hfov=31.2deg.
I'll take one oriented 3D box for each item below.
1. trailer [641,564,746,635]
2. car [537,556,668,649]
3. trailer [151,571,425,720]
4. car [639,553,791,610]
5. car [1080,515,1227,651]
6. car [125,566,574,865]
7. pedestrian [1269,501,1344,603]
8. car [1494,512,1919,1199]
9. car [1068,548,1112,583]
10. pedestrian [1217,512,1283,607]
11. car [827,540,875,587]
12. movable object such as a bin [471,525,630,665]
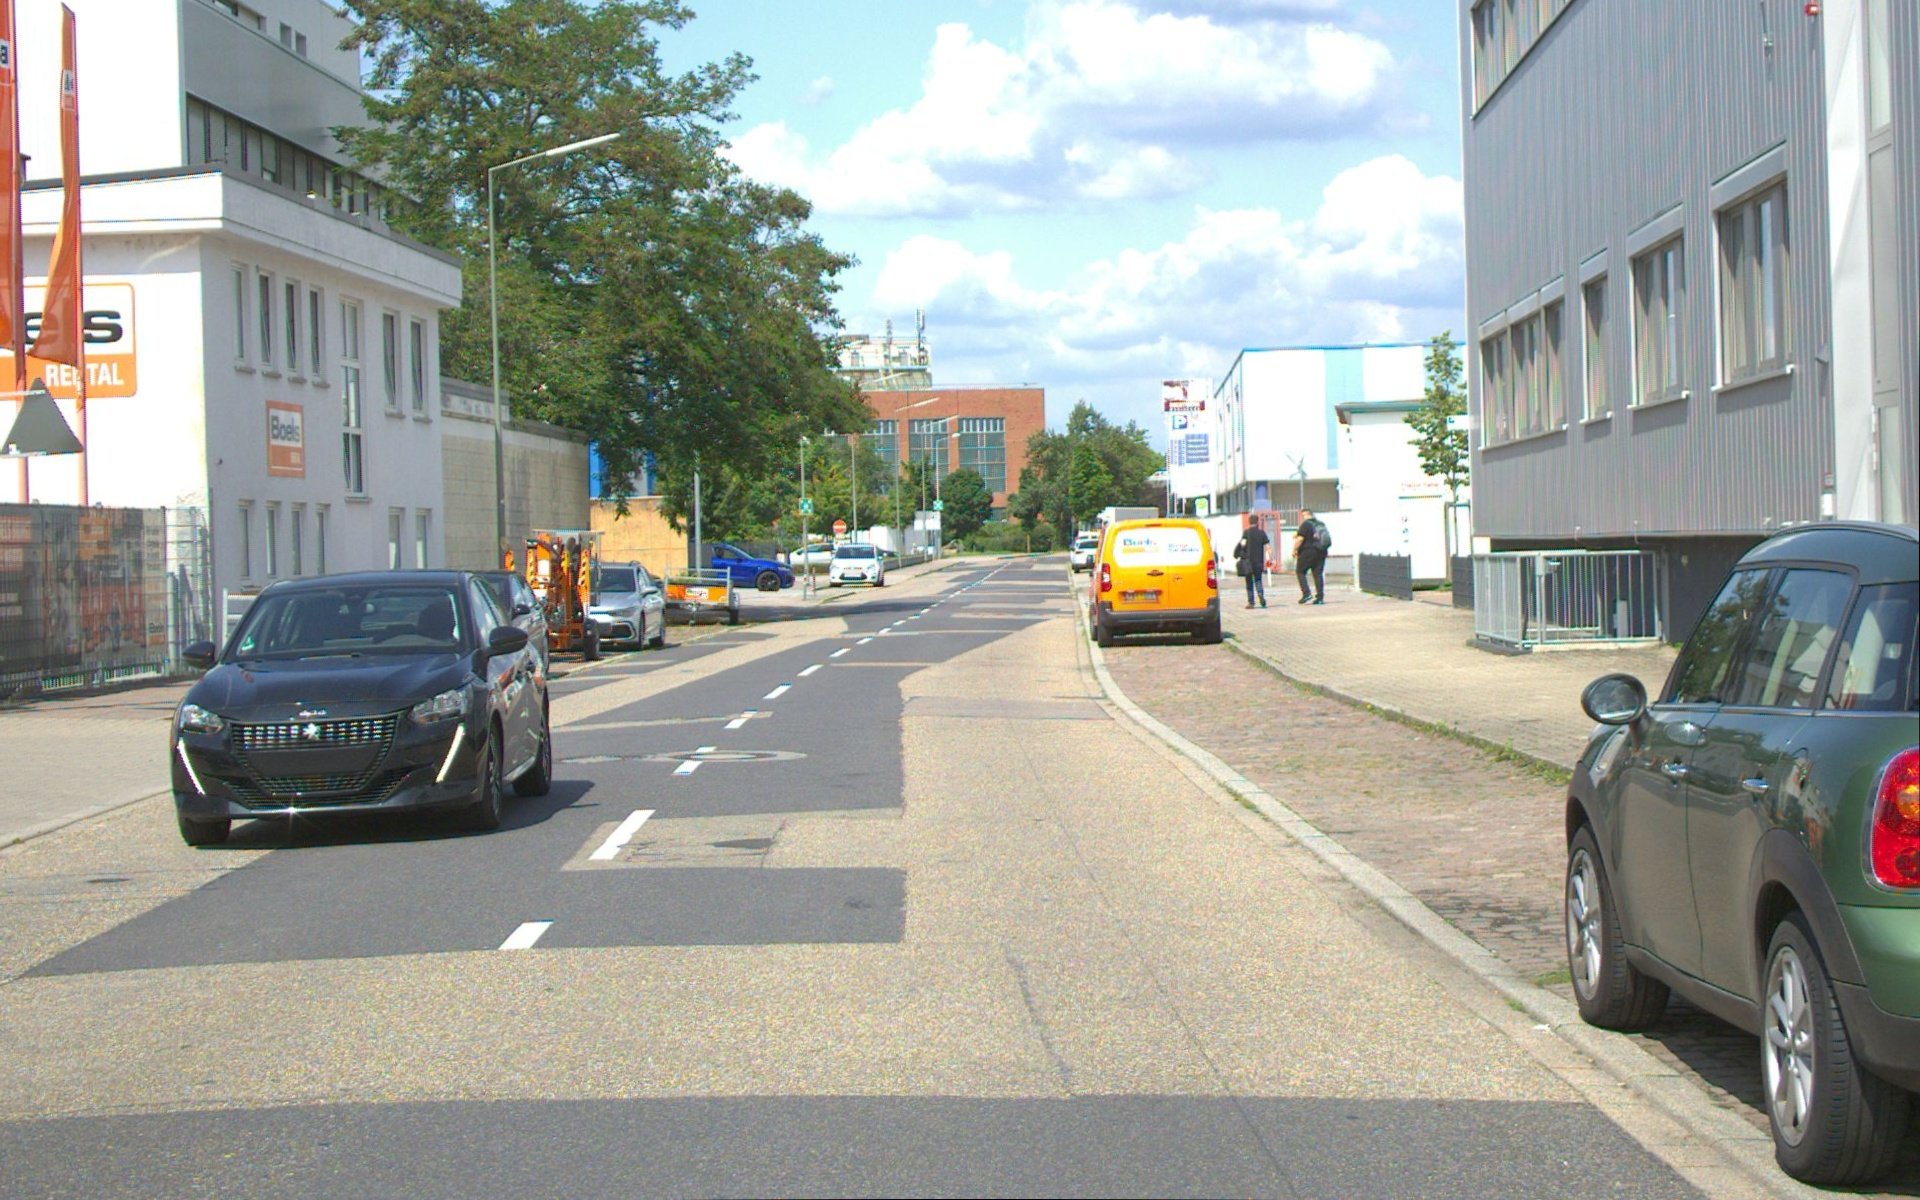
[{"bbox_3d":[-5.654,-0.029,73.461,1.767,1.434,4.336,1,1,2],"label":"trailer"},{"bbox_3d":[-5.803,0.013,56.204,1.673,1.450,4.514,0,1,0],"label":"car"},{"bbox_3d":[-6.645,0.399,34.512,1.767,1.372,5.051,0,1,0],"label":"trailer"},{"bbox_3d":[-8.054,-0.609,112.753,4.685,1.588,1.916,-3,1,-11],"label":"car"},{"bbox_3d":[2.852,-0.270,51.581,1.872,1.886,4.453,2,1,0],"label":"car"},{"bbox_3d":[-3.353,0.571,19.611,1.735,1.437,4.000,-3,1,1],"label":"car"},{"bbox_3d":[6.802,-0.943,67.489,0.989,1.945,1.091,-3,1,-21],"label":"pedestrian"},{"bbox_3d":[2.675,0.556,9.446,1.710,1.506,4.115,1,1,-1],"label":"car"},{"bbox_3d":[5.817,-1.545,154.637,1.867,1.515,4.598,-1,1,1],"label":"car"},{"bbox_3d":[5.638,-0.784,66.833,0.856,1.801,1.006,-3,1,-21],"label":"pedestrian"},{"bbox_3d":[-3.974,-1.350,125.081,1.685,1.658,4.000,-1,1,-2],"label":"car"},{"bbox_3d":[-6.018,-0.118,51.025,1.614,1.912,5.138,2,1,1],"label":"movable object such as a bin"}]
